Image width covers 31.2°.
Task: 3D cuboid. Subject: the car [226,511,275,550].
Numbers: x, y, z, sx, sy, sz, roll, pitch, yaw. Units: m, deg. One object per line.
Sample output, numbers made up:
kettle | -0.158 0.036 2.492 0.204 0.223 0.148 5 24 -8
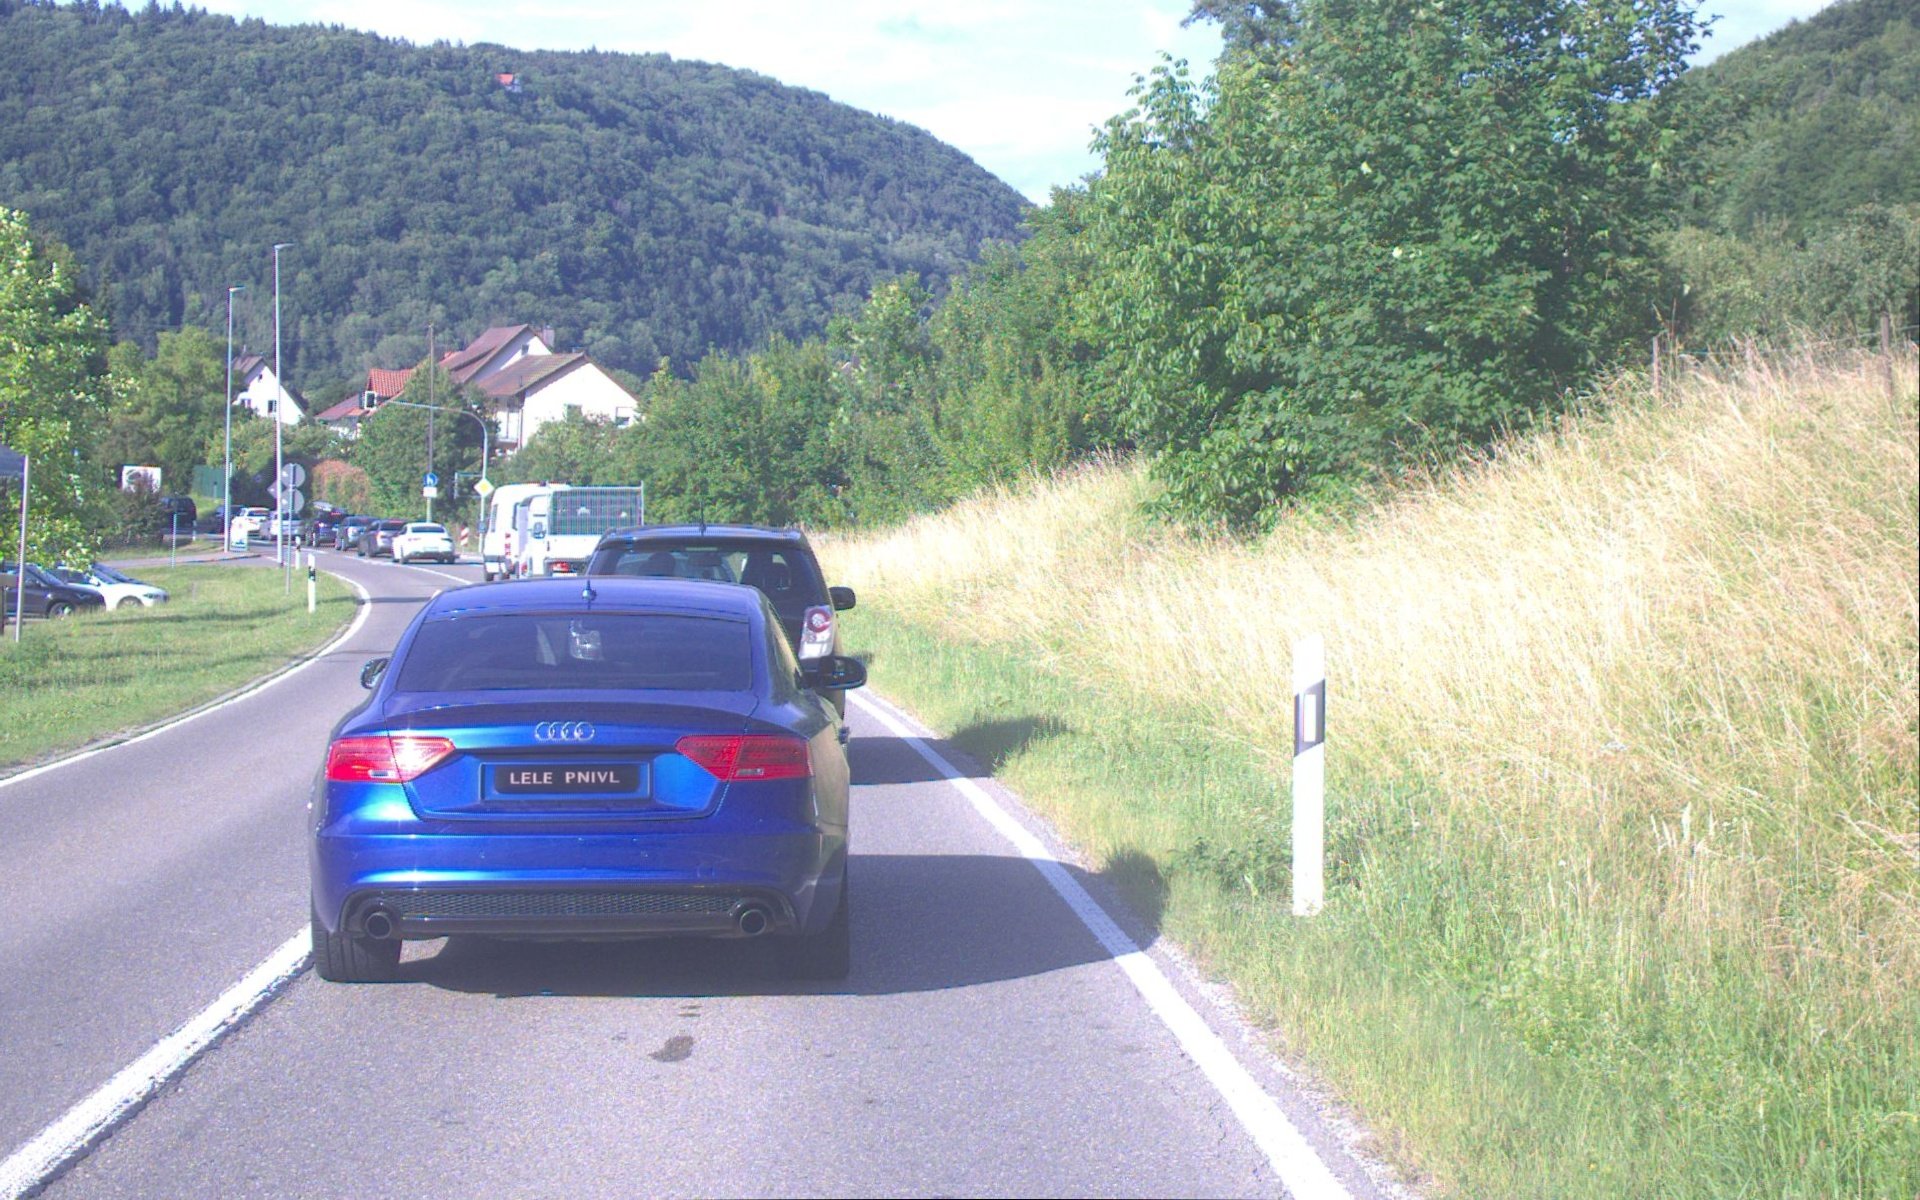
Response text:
car | -35.835 -3.499 173.691 1.676 1.918 4.001 -1 1 -22

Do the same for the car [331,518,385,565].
car | -25.034 -2.434 142.860 1.659 1.918 4.001 -1 1 -18

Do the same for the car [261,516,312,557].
car | -32.300 -3.037 164.860 1.676 1.918 4.001 -1 1 -21

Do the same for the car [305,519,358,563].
car | -27.916 -2.615 152.731 1.676 1.918 4.001 -1 1 -19

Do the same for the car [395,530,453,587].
car | -18.736 -1.454 120.114 1.659 1.918 4.001 -1 1 -13

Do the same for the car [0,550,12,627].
car | -25.021 -0.257 81.442 4.554 1.808 1.841 0 1 4

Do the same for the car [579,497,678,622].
car | -5.567 -0.694 57.800 1.567 2.007 4.001 -1 1 -5

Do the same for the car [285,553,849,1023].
car | -1.354 0.568 12.497 1.742 1.445 3.517 0 1 -4

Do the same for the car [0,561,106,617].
car | -24.800 -0.292 91.465 3.713 1.434 1.509 0 1 4

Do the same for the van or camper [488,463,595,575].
van or camper | -10.564 -2.022 86.430 2.280 2.704 5.769 -1 1 -11

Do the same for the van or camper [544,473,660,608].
van or camper | -7.048 -1.163 67.260 2.051 2.497 5.813 -1 1 -8

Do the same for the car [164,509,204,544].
car | -43.858 -4.138 194.235 1.676 1.918 4.001 -1 1 -20

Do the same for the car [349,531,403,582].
car | -22.393 -1.670 131.757 1.659 1.918 4.001 -1 1 -15

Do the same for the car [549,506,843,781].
car | -1.791 0.230 22.385 1.645 1.619 3.518 1 1 -8

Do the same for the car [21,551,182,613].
car | -23.972 -0.508 96.022 4.036 1.655 1.655 0 1 4

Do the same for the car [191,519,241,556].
car | -39.193 -3.268 181.038 1.954 1.918 4.001 -1 1 -20
